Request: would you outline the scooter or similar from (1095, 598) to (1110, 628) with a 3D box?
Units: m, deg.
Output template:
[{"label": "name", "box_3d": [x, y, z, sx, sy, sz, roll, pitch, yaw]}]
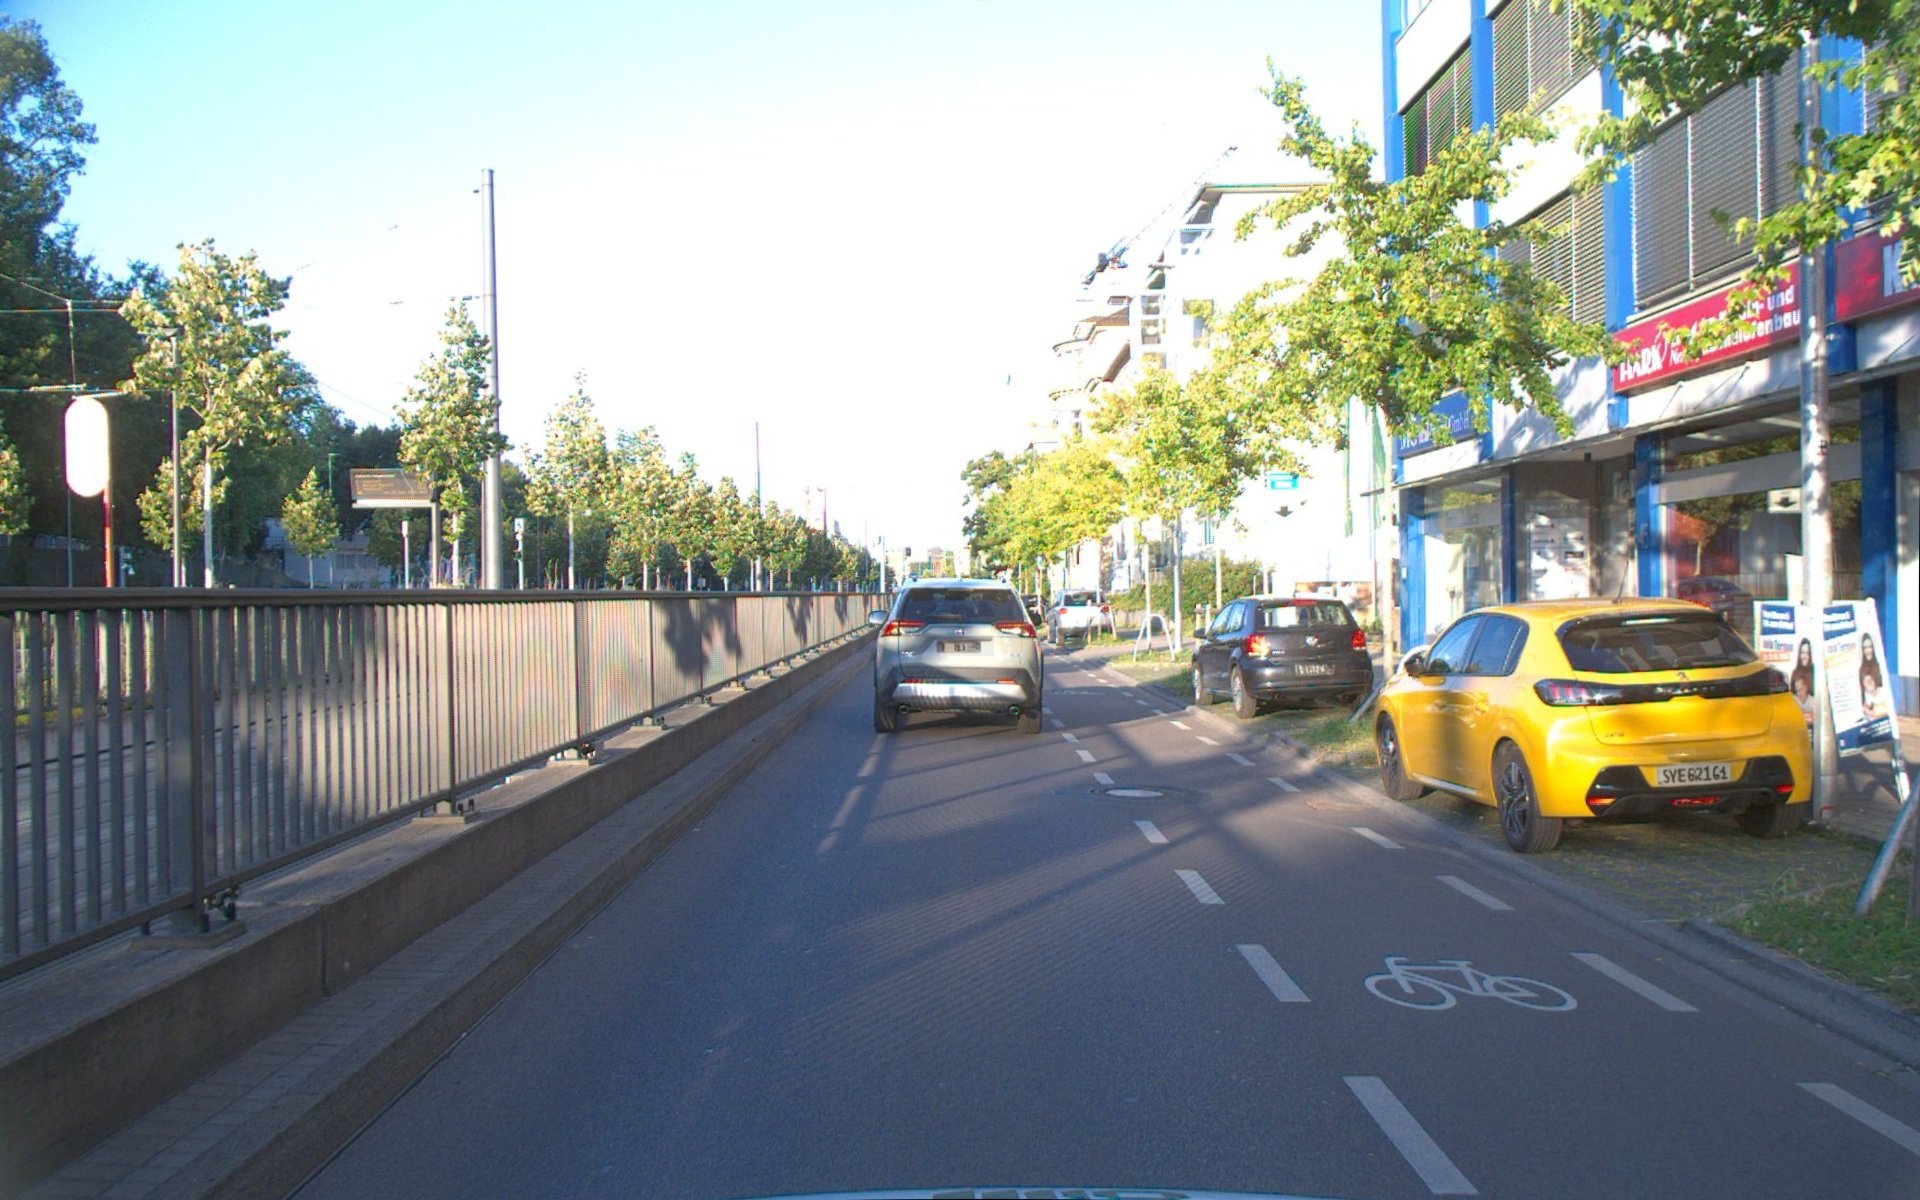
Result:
[{"label": "scooter or similar", "box_3d": [6.199, 0.556, 71.824, 0.481, 1.280, 1.207, 0, -1, -4]}]

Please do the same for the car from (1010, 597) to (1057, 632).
[{"label": "car", "box_3d": [3.518, 0.675, 80.109, 1.757, 1.496, 4.442, -4, 0, -3]}]

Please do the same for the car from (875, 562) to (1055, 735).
[{"label": "car", "box_3d": [-0.033, 0.507, 19.059, 1.820, 1.744, 4.190, 1, 0, -2]}]

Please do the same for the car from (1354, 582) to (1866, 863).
[{"label": "car", "box_3d": [4.071, 0.674, 11.152, 1.650, 1.480, 4.128, -2, 0, -2]}]

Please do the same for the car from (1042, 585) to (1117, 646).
[{"label": "car", "box_3d": [3.615, 0.442, 50.676, 1.817, 1.736, 4.252, -1, 0, -2]}]

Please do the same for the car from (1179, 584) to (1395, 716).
[{"label": "car", "box_3d": [4.099, 0.593, 21.402, 1.783, 1.480, 4.126, -2, 0, -2]}]
